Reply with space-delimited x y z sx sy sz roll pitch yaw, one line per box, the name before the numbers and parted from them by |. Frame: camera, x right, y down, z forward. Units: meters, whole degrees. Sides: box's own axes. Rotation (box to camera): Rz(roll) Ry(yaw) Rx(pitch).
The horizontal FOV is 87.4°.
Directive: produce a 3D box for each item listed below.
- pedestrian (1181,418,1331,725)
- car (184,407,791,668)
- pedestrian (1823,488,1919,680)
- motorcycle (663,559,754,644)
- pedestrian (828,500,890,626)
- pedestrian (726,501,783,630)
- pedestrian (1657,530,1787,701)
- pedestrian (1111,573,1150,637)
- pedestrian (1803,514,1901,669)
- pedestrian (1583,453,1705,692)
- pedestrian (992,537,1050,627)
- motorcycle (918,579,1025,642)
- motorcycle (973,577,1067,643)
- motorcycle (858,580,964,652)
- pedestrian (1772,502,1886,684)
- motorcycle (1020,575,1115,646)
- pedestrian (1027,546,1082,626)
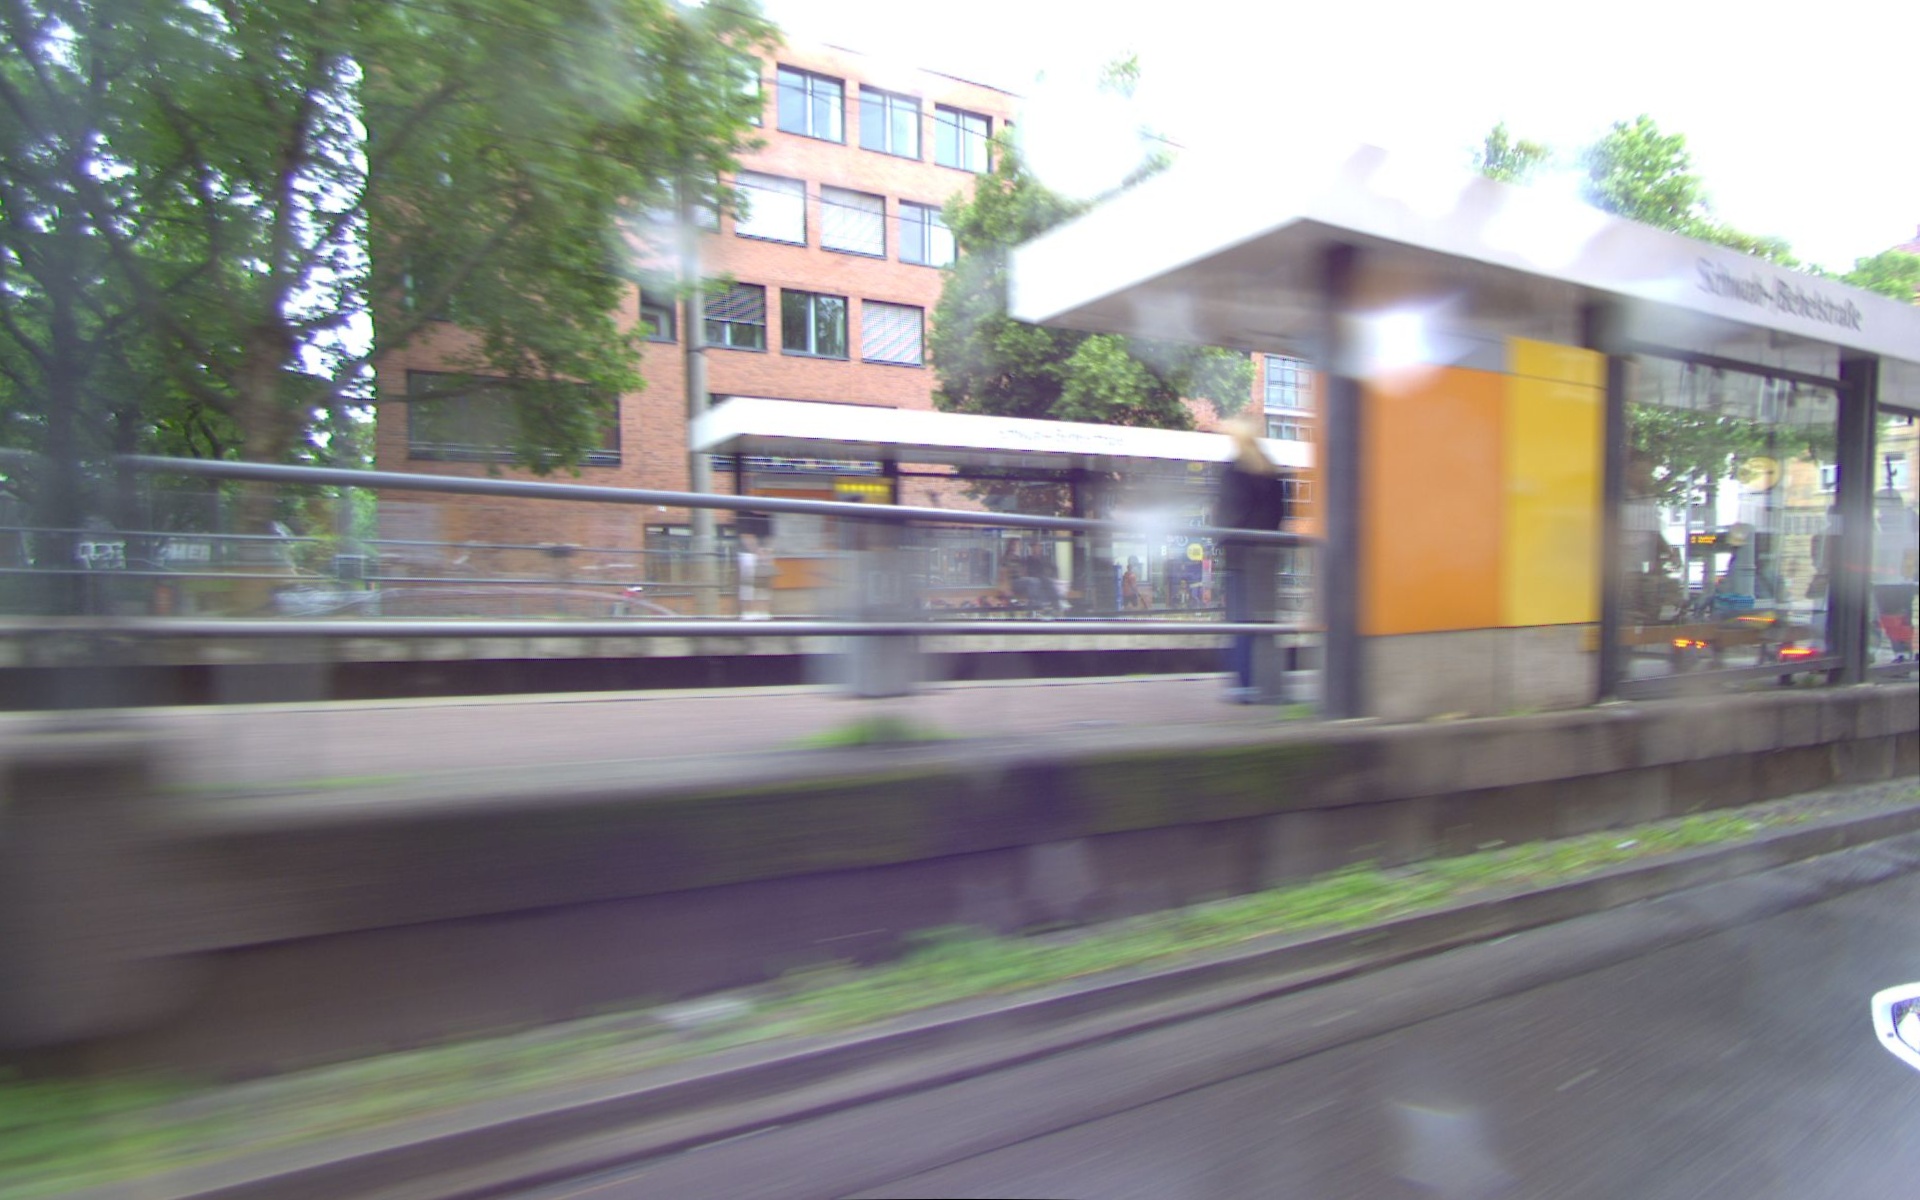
pedestrian | 1.646 -0.150 5.640 0.626 1.626 0.496 0 1 -13
car | -3.087 -0.343 7.000 3.421 1.409 1.684 0 1 -29
pedestrian | 8.570 -0.144 9.342 0.579 1.711 0.611 0 1 -26
motorcycle | -5.860 -0.021 23.167 0.994 1.798 3.845 0 2 -30
pedestrian | -1.440 -0.519 14.294 0.698 1.738 0.559 -1 3 -31
pedestrian | -2.741 -0.455 13.373 0.557 1.663 0.683 -1 3 -31
pedestrian | 5.817 0.109 7.686 0.500 1.243 0.611 0 1 -26
pedestrian | 5.532 0.144 32.562 0.966 2.041 0.731 0 1 -23
pedestrian | 9.581 -0.092 10.801 0.500 1.602 0.611 0 1 -26
pedestrian | 4.834 -0.189 7.111 0.521 1.610 0.503 0 1 -30
pedestrian | 0.958 -0.293 15.900 0.557 1.381 0.773 -1 3 -31
motorcycle | 0.237 0.233 26.546 0.994 1.508 3.845 0 1 -30
motorcycle | 1.562 0.222 27.001 0.994 1.649 3.043 0 2 -30
motorcycle | -1.298 0.340 25.228 0.994 1.627 3.845 0 1 -30
pedestrian | 7.995 -0.068 9.253 0.500 1.602 0.611 0 1 -26
motorcycle | 2.918 0.242 27.634 0.982 1.840 3.021 0 2 -30
pedestrian | 1.515 -0.237 16.151 0.557 1.257 0.700 -1 3 -31
